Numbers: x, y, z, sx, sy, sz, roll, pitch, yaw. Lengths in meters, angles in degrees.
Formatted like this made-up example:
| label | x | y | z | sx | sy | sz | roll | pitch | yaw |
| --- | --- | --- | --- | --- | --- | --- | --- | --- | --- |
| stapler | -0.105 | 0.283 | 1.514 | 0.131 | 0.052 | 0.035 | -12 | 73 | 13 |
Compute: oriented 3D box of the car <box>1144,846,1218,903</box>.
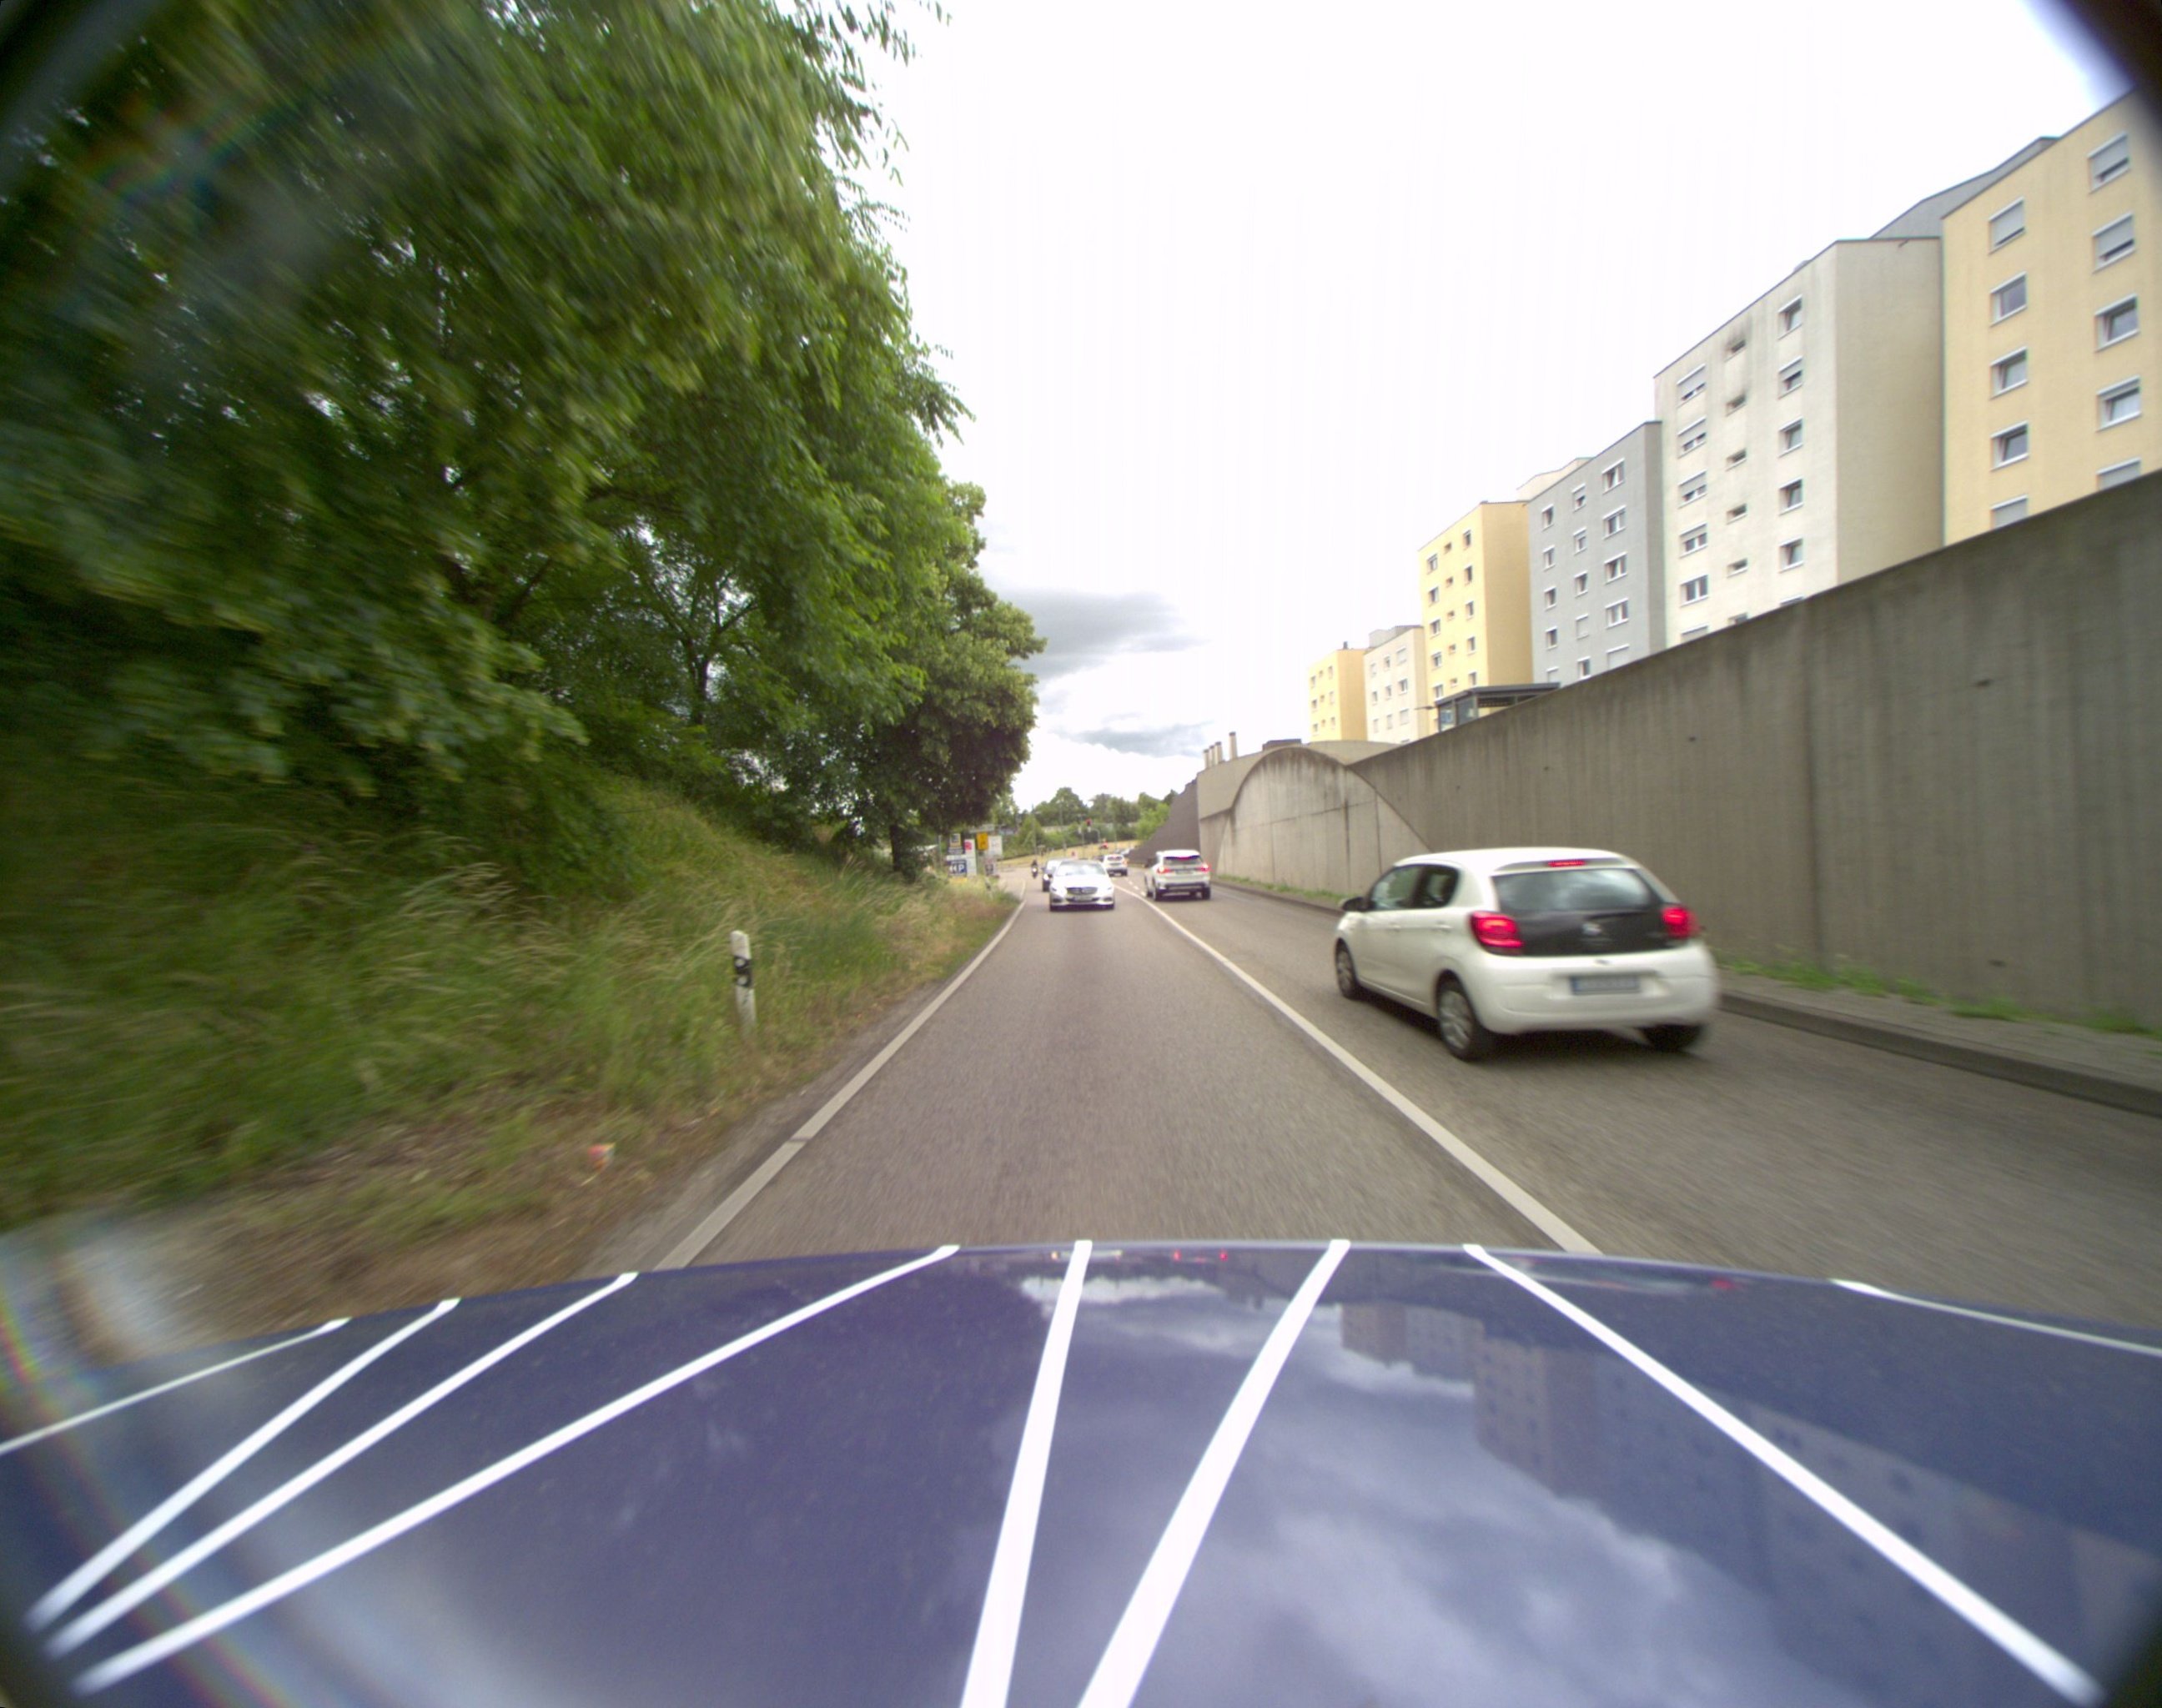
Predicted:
| label | x | y | z | sx | sy | sz | roll | pitch | yaw |
| --- | --- | --- | --- | --- | --- | --- | --- | --- | --- |
| car | 3.297 | 0.615 | 25.905 | 1.895 | 1.623 | 4.425 | -3 | 1 | 0 |

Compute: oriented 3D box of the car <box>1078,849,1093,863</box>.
| label | x | y | z | sx | sy | sz | roll | pitch | yaw |
| --- | --- | --- | --- | --- | --- | --- | --- | --- | --- |
| car | 0.519 | 0.290 | 89.756 | 1.547 | 1.514 | 2.914 | -3 | -1 | -3 |

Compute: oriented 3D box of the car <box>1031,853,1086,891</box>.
| label | x | y | z | sx | sy | sz | roll | pitch | yaw |
| --- | --- | --- | --- | --- | --- | --- | --- | --- | --- |
| car | -1.124 | 0.808 | 36.156 | 1.760 | 1.532 | 3.995 | -6 | 2 | -12 |

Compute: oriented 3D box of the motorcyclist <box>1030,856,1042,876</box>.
| label | x | y | z | sx | sy | sz | roll | pitch | yaw |
| --- | --- | --- | --- | --- | --- | --- | --- | --- | --- |
| motorcyclist | -3.822 | 1.038 | 64.559 | 0.883 | 1.596 | 1.243 | -6 | 2 | -4 |

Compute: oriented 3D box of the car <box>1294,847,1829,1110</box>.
| label | x | y | z | sx | sy | sz | roll | pitch | yaw |
| --- | --- | --- | --- | --- | --- | --- | --- | --- | --- |
| car | 3.484 | 0.746 | 6.665 | 1.920 | 1.487 | 4.207 | -3 | 0 | -1 |

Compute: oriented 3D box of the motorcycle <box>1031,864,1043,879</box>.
| label | x | y | z | sx | sy | sz | roll | pitch | yaw |
| --- | --- | --- | --- | --- | --- | --- | --- | --- | --- |
| motorcycle | -3.800 | 1.456 | 64.755 | 0.883 | 1.098 | 2.359 | -6 | 1 | -4 |

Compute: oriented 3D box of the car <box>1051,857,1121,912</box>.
| label | x | y | z | sx | sy | sz | roll | pitch | yaw |
| --- | --- | --- | --- | --- | --- | --- | --- | --- | --- |
| car | 0.171 | 0.855 | 23.196 | 1.905 | 1.471 | 4.094 | -2 | 0 | 1 |

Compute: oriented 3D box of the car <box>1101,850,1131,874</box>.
| label | x | y | z | sx | sy | sz | roll | pitch | yaw |
| --- | --- | --- | --- | --- | --- | --- | --- | --- | --- |
| car | 2.569 | 0.548 | 56.120 | 1.866 | 1.622 | 4.207 | -3 | 0 | -1 |
